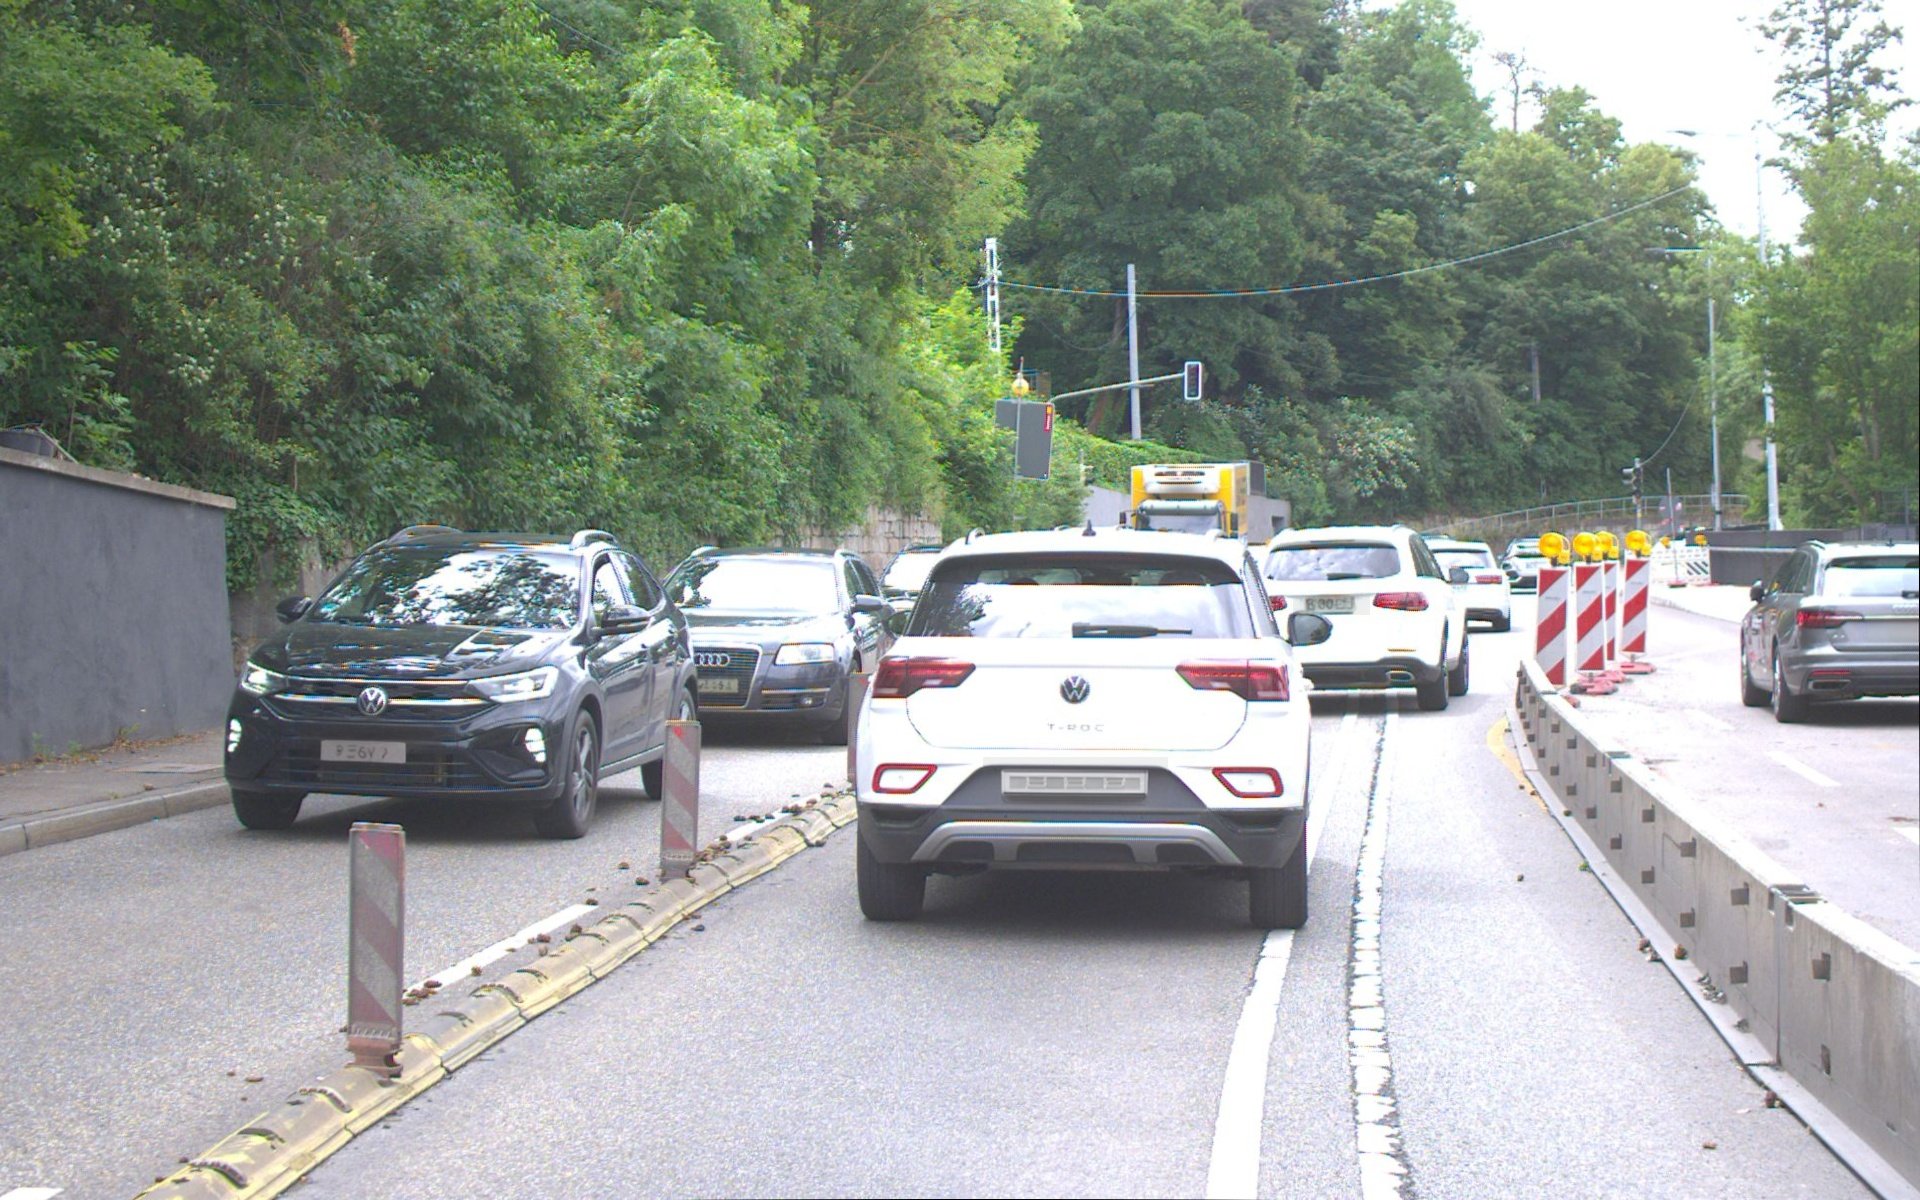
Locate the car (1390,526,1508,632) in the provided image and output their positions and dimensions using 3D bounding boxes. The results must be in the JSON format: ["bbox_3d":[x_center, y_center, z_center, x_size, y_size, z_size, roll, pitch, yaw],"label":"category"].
[{"bbox_3d":[8.034,-0.372,56.221,1.810,1.657,3.999,-1,1,9],"label":"car"}]

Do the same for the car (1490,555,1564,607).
[{"bbox_3d":[15.489,-0.543,94.042,1.794,1.363,3.999,0,1,7],"label":"car"}]

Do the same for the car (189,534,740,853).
[{"bbox_3d":[-2.481,0.407,18.330,1.768,1.447,4.307,2,1,8],"label":"car"}]

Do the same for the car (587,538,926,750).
[{"bbox_3d":[-1.463,0.277,26.354,1.768,1.447,4.307,2,1,8],"label":"car"}]

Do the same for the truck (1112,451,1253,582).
[{"bbox_3d":[5.726,-2.065,87.365,2.905,3.144,7.581,0,0,9],"label":"truck"}]

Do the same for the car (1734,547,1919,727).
[{"bbox_3d":[7.416,0.256,28.147,1.795,1.363,3.999,0,1,8],"label":"car"}]

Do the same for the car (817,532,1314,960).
[{"bbox_3d":[0.584,0.490,14.615,1.810,1.526,3.999,1,1,6],"label":"car"}]

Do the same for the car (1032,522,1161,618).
[{"bbox_3d":[2.245,-0.496,55.697,1.768,1.447,4.308,2,1,6],"label":"car"}]

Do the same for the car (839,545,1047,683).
[{"bbox_3d":[-0.131,0.121,39.315,1.768,1.447,4.307,2,1,8],"label":"car"}]

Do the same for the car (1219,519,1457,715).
[{"bbox_3d":[3.505,0.106,31.289,1.810,1.657,3.998,-1,1,11],"label":"car"}]

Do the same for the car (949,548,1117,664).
[{"bbox_3d":[1.037,0.045,46.693,1.768,1.447,4.307,2,1,8],"label":"car"}]

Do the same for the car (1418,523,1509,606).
[{"bbox_3d":[10.486,-0.758,71.797,1.810,1.657,3.999,-1,1,7],"label":"car"}]
